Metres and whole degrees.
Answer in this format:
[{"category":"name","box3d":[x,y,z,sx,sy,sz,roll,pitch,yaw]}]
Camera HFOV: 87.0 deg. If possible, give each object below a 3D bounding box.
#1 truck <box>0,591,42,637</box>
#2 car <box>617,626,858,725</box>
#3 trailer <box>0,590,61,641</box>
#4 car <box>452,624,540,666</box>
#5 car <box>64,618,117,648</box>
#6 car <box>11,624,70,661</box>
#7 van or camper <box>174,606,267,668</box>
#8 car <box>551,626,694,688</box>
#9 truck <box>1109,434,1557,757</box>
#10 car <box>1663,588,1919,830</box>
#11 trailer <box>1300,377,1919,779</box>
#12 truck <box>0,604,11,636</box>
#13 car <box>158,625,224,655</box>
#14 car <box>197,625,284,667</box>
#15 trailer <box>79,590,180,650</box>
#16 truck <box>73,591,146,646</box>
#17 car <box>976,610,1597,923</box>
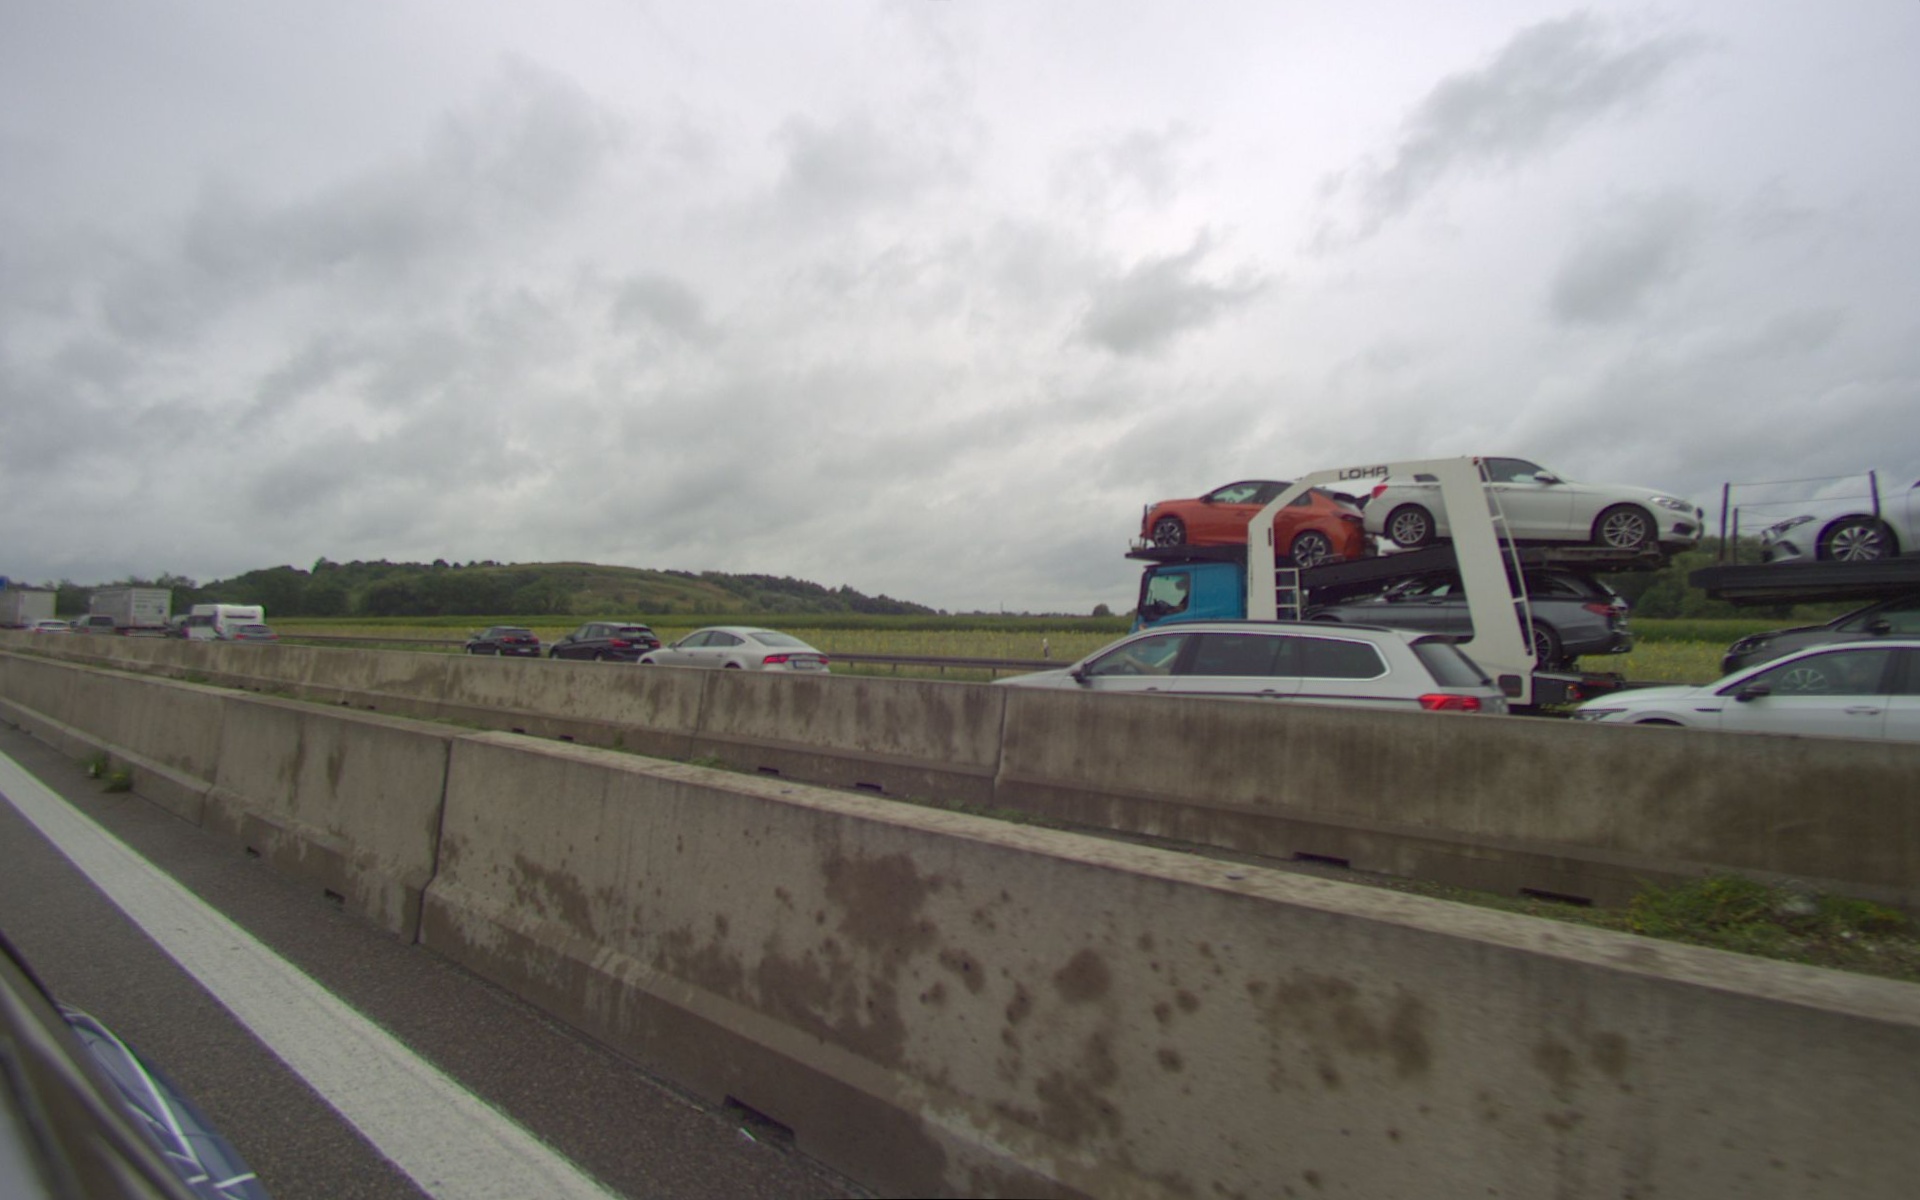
[{"category":"truck","box3d":[-86.647,1.265,92.735,6.369,4.005,3.060,-1,1,41]},{"category":"car","box3d":[-4.616,1.404,20.528,5.161,1.723,2.072,-1,-1,40]},{"category":"trailer","box3d":[-80.959,1.258,87.693,12.325,4.119,3.054,0,1,42]},{"category":"car","box3d":[-19.757,1.867,43.043,3.996,1.607,1.866,-1,1,40]},{"category":"car","box3d":[-57.247,2.159,66.572,5.275,1.939,1.864,-1,-2,41]},{"category":"car","box3d":[-49.631,2.265,54.608,4.171,1.939,1.864,-1,-2,41]},{"category":"van or camper","box3d":[-45.016,2.157,61.530,7.692,3.529,2.682,-1,1,39]},{"category":"car","box3d":[-10.406,1.676,30.995,4.799,1.723,2.071,-1,-1,42]},{"category":"truck","box3d":[5.893,-0.065,16.544,6.231,4.273,2.926,-1,1,41]},{"category":"car","box3d":[8.843,0.848,8.159,5.030,1.893,1.973,0,1,41]},{"category":"trailer","box3d":[11.988,-0.267,11.166,15.701,4.273,2.967,0,1,42]},{"category":"truck","box3d":[-145.042,2.978,151.034,11.776,4.517,3.477,-1,1,40]},{"category":"car","box3d":[-49.666,2.573,65.329,5.126,1.767,2.072,-1,1,37]},{"category":"car","box3d":[-31.634,1.982,44.449,4.797,1.723,2.040,-1,-1,41]},{"category":"trailer","box3d":[-65.486,1.451,79.551,15.618,4.303,3.674,0,1,42]},{"category":"truck","box3d":[-71.102,1.499,84.544,7.588,4.306,3.578,-1,1,41]},{"category":"car","box3d":[2.505,1.053,8.505,4.588,1.893,1.907,0,1,41]}]
